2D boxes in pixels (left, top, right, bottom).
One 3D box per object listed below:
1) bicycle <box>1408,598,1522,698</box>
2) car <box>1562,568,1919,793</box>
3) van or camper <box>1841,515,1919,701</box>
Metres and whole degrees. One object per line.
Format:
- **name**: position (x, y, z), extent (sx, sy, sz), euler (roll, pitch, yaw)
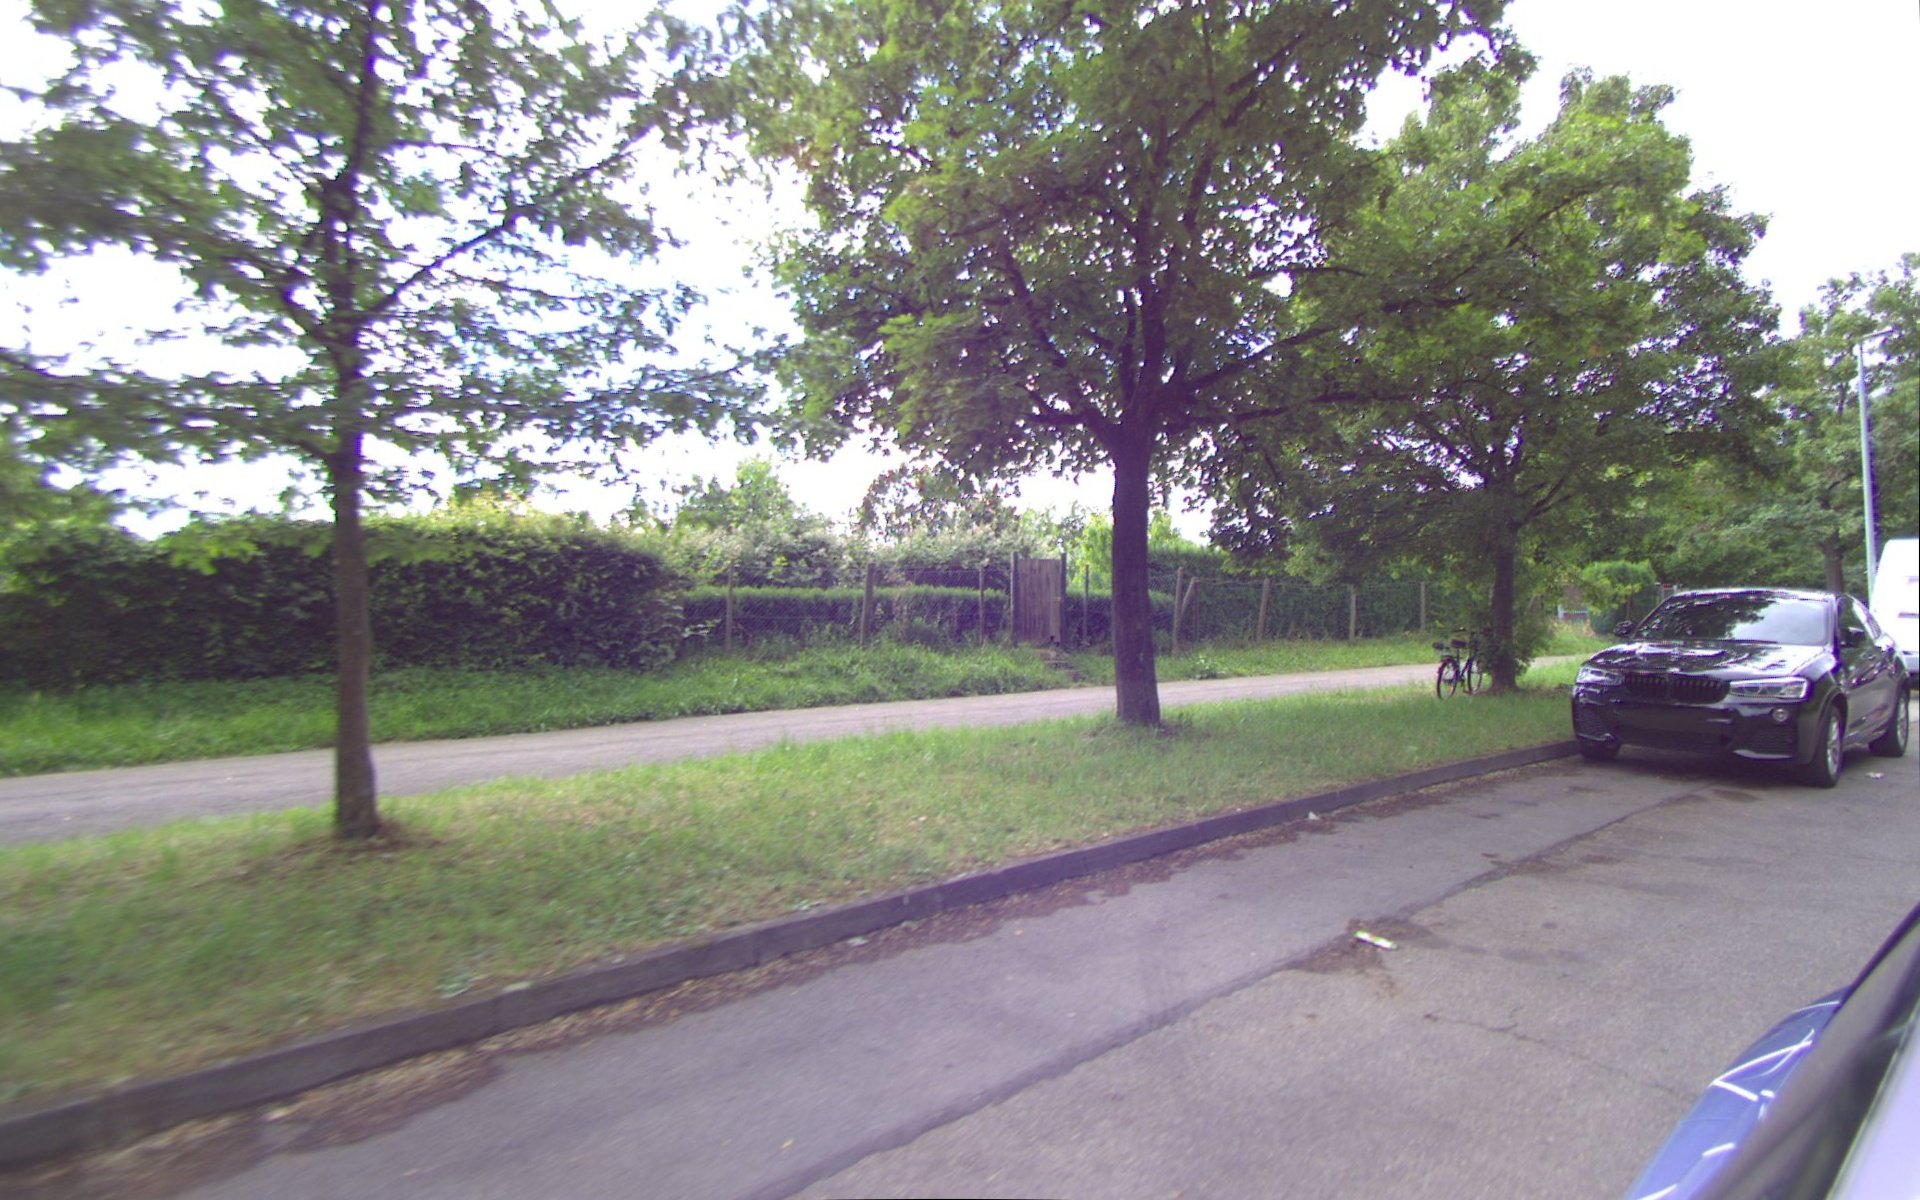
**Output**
- **bicycle**: position (7.088, 0.632, 14.152), extent (2.146, 1.230, 0.535), euler (-3, 0, -39)
- **car**: position (7.647, 0.581, 9.621), extent (4.448, 1.664, 1.853), euler (0, 0, -38)
- **van or camper**: position (15.861, 0.062, 15.384), extent (5.915, 2.569, 2.168), euler (-1, -1, -33)
